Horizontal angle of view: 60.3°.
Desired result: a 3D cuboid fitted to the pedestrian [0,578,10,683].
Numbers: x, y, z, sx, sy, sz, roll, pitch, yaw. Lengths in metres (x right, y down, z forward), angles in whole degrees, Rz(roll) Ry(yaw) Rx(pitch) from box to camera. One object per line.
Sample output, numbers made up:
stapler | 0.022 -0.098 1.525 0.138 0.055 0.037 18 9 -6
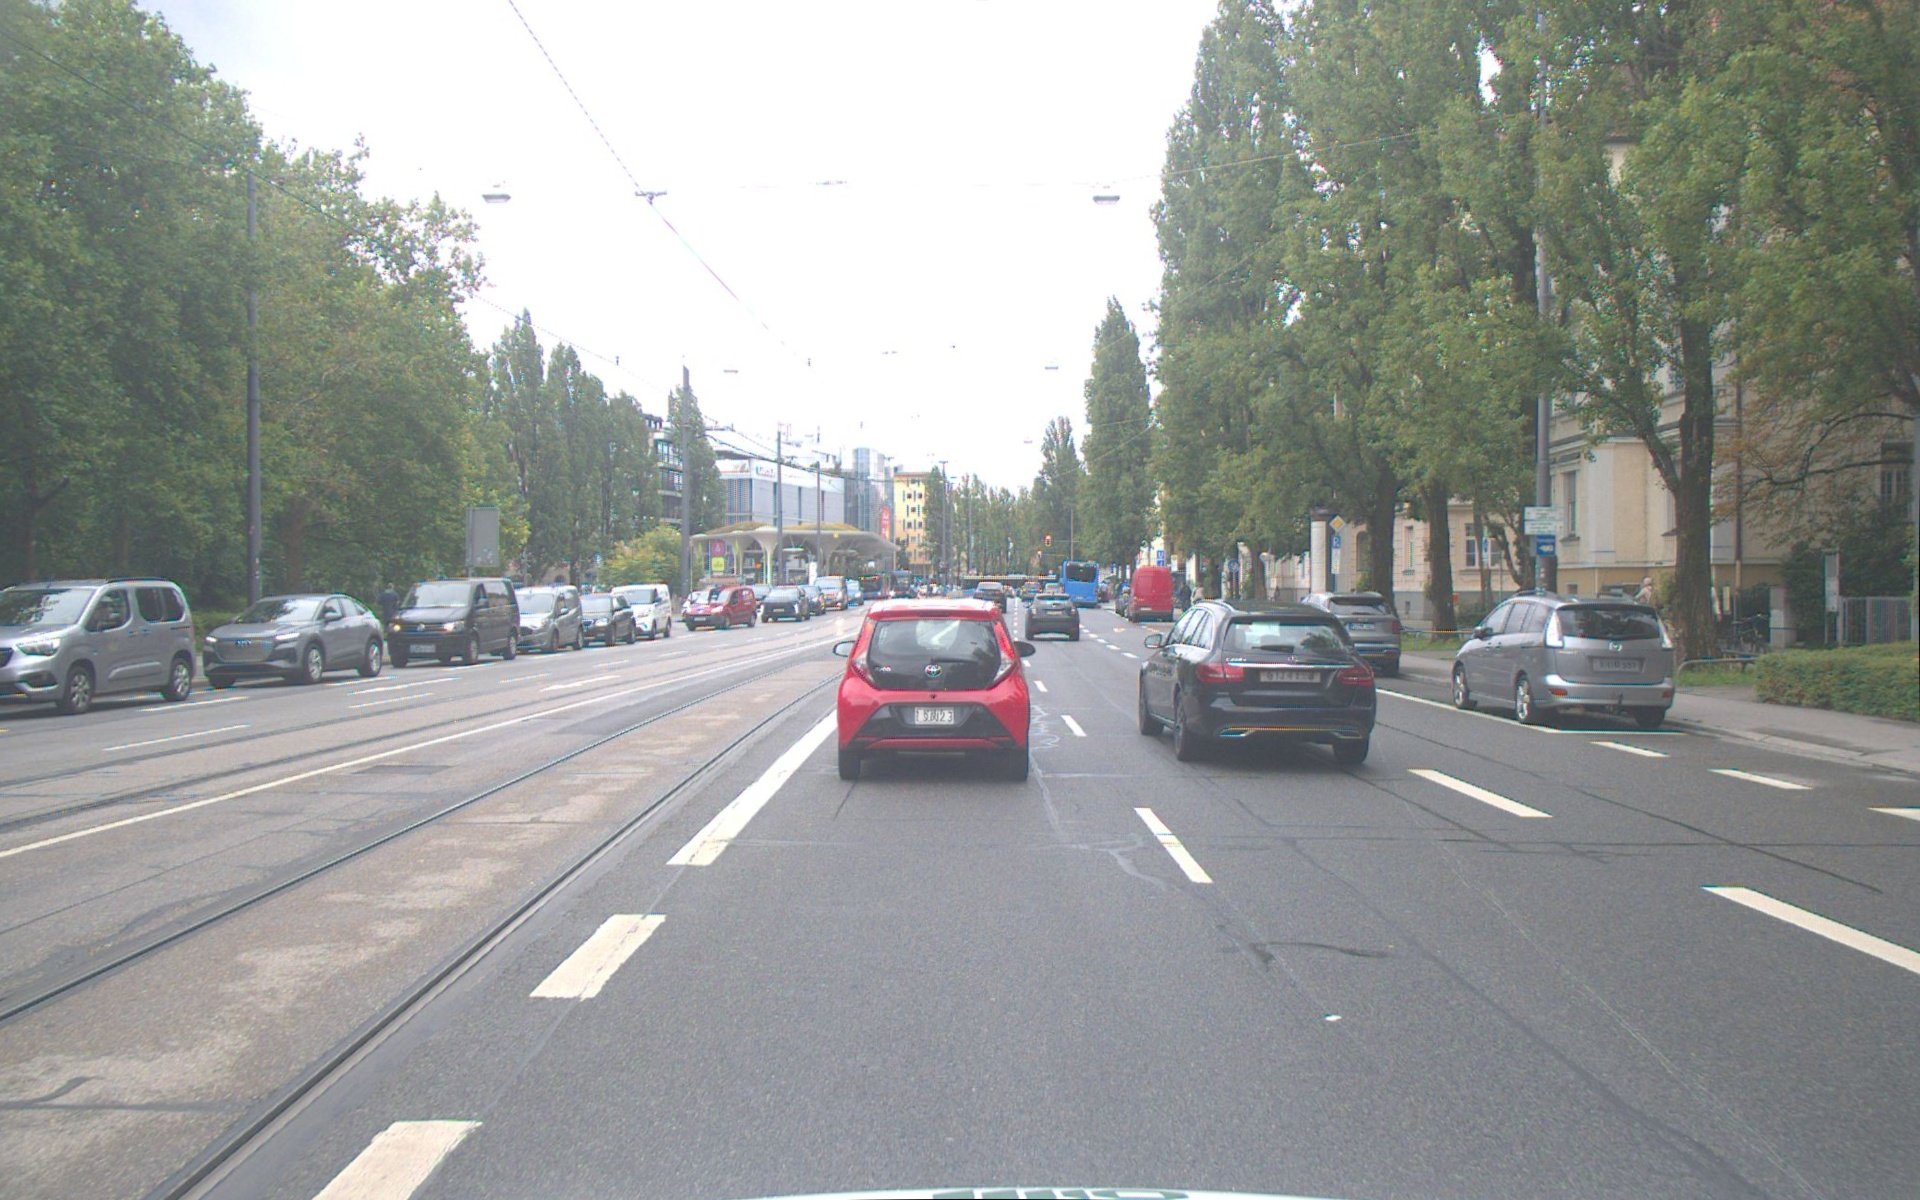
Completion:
pedestrian | -16.904 0.525 28.387 0.650 1.821 0.819 1 0 9

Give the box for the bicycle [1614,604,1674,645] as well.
bicycle | 16.645 0.586 40.289 0.639 0.939 1.903 -1 0 -1

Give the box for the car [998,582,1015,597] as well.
car | 5.711 -1.276 202.512 1.766 1.624 4.001 0 -3 5

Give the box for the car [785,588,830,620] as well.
car | -8.005 0.191 87.207 1.762 1.557 4.520 -2 0 2

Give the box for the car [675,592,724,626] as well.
car | -12.694 0.416 80.875 1.763 1.557 4.517 -2 0 -2

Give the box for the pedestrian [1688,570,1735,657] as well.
pedestrian | 15.649 0.267 34.464 0.579 1.769 0.824 0 2 1

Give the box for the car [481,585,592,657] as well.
car | -11.651 0.547 45.795 1.762 1.819 4.519 -2 0 1

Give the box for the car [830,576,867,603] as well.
car | -7.288 -0.676 108.660 1.761 1.694 4.521 -2 0 4

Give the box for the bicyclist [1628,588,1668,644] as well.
bicyclist | 16.675 0.385 40.090 0.646 1.337 0.706 -1 0 -1

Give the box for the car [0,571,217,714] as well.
car | -12.428 0.546 23.365 1.762 1.810 4.473 -1 0 1

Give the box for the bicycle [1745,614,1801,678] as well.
bicycle | 13.675 0.758 27.855 0.347 1.005 1.228 0 2 1

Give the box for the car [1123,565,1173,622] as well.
car | 9.078 -0.371 80.243 1.952 2.619 4.681 0 2 1

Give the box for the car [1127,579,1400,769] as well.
car | 2.831 0.602 16.482 1.825 1.576 4.703 -1 1 0

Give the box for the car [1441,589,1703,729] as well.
car | 7.906 0.683 21.837 1.762 1.640 4.547 -1 0 0

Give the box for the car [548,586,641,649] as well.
car | -11.389 0.511 51.861 1.762 1.819 4.519 -2 0 1

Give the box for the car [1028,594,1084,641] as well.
car | 3.198 0.556 55.728 1.744 1.512 4.001 0 0 1

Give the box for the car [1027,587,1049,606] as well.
car | 6.499 -0.290 138.587 1.744 1.512 4.001 0 0 1

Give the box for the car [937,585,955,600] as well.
car | -1.489 -0.771 175.078 1.744 1.512 4.001 0 0 1

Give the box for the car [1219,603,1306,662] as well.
car | 8.309 0.865 45.709 1.762 1.534 4.001 0 0 1

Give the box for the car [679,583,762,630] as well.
car | -9.900 0.223 68.600 1.761 1.819 4.523 -2 0 14

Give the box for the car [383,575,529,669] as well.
car | -11.702 0.470 38.782 1.762 2.025 5.040 -1 0 1

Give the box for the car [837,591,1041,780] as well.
car | -0.204 0.666 14.744 1.595 1.465 3.375 1 0 -1

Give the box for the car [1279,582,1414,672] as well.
car | 8.141 0.527 35.243 1.762 1.773 4.700 -1 0 0

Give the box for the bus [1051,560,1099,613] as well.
bus | 8.116 -1.061 117.602 2.846 3.455 10.809 0 2 1

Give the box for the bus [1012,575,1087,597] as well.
bus | 12.575 -1.968 232.390 10.344 2.895 1.999 0 2 -3

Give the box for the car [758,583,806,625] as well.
car | -8.316 0.187 77.578 1.763 1.819 4.518 -2 0 0

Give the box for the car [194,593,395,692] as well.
car | -12.169 0.718 30.601 1.762 1.663 4.589 -1 0 1

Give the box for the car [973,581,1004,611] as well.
car | 1.583 -0.237 91.881 1.700 1.576 4.577 -1 0 1

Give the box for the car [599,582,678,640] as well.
car | -11.268 0.361 58.276 1.762 1.894 4.631 -2 0 1

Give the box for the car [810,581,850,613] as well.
car | -7.463 -0.176 95.285 1.762 1.694 4.520 -2 0 2
